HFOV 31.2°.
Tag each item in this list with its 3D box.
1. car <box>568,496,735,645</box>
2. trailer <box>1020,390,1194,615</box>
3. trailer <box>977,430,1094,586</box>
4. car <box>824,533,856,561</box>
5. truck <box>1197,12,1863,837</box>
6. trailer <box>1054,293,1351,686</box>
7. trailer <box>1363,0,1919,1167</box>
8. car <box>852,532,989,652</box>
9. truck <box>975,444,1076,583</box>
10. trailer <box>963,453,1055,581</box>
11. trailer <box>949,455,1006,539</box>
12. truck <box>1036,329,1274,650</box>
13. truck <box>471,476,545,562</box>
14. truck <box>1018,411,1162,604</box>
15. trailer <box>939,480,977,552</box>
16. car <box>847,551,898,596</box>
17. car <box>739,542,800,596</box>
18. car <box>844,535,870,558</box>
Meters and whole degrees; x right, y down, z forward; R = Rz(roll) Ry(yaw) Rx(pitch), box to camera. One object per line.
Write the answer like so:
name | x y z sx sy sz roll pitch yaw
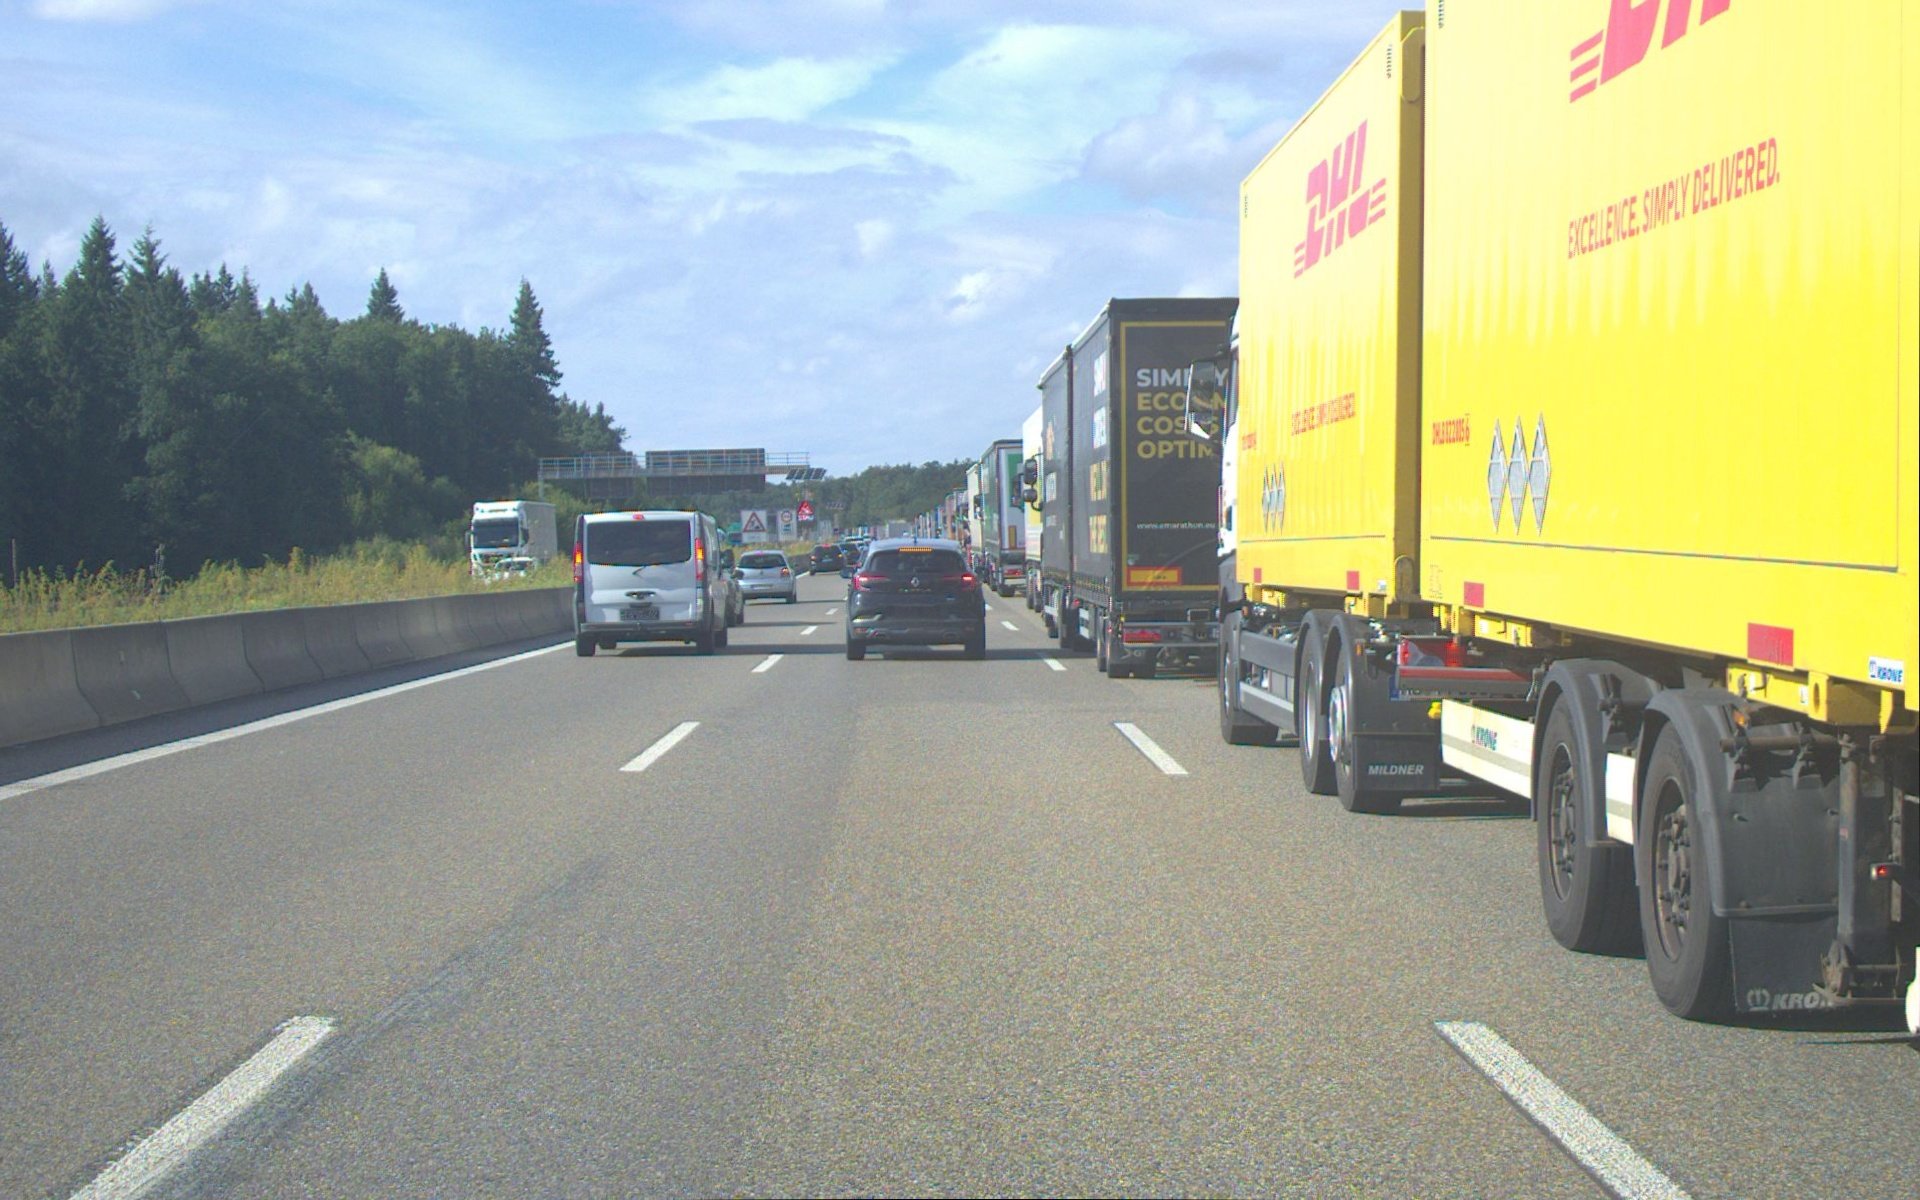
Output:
car | -4.314 -0.431 48.708 1.933 1.972 5.099 1 1 -1
trailer | 2.722 -1.815 67.304 2.792 3.925 13.070 -1 1 0
trailer | 1.939 -2.409 93.488 2.661 3.855 13.395 -2 1 0
car | -5.764 -2.545 165.417 1.434 1.305 3.534 1 1 -1
truck | 3.166 -0.965 21.917 2.412 4.054 9.665 1 1 -1
trailer | 2.583 -1.235 39.346 2.716 3.947 8.712 1 1 0
trailer | 3.317 -0.751 12.625 2.412 4.054 8.927 1 1 -1
car | -0.524 -0.130 45.191 1.696 1.478 4.160 1 1 -1
truck | 1.879 -2.505 100.892 2.647 3.855 6.996 -2 1 0
trailer | 1.614 -2.868 119.178 2.703 4.068 12.945 -3 1 0
trailer | 0.922 -5.434 183.755 2.802 4.229 11.057 -3 1 0
truck | 2.589 -1.478 48.785 2.741 4.024 10.203 1 1 0
truck | -21.561 -3.855 164.191 2.819 3.962 5.834 -1 1 -1
truck | 2.726 -1.938 73.476 2.802 3.925 5.826 -1 1 0
trailer | -0.115 -5.109 210.952 2.150 4.244 8.440 -2 1 0
car | -2.806 -0.855 109.892 1.581 1.391 3.208 1 1 -1
car | -5.137 -0.848 92.994 1.500 1.391 3.476 1 1 -1
car | -5.997 -3.087 199.798 1.434 1.305 3.534 1 1 -1
